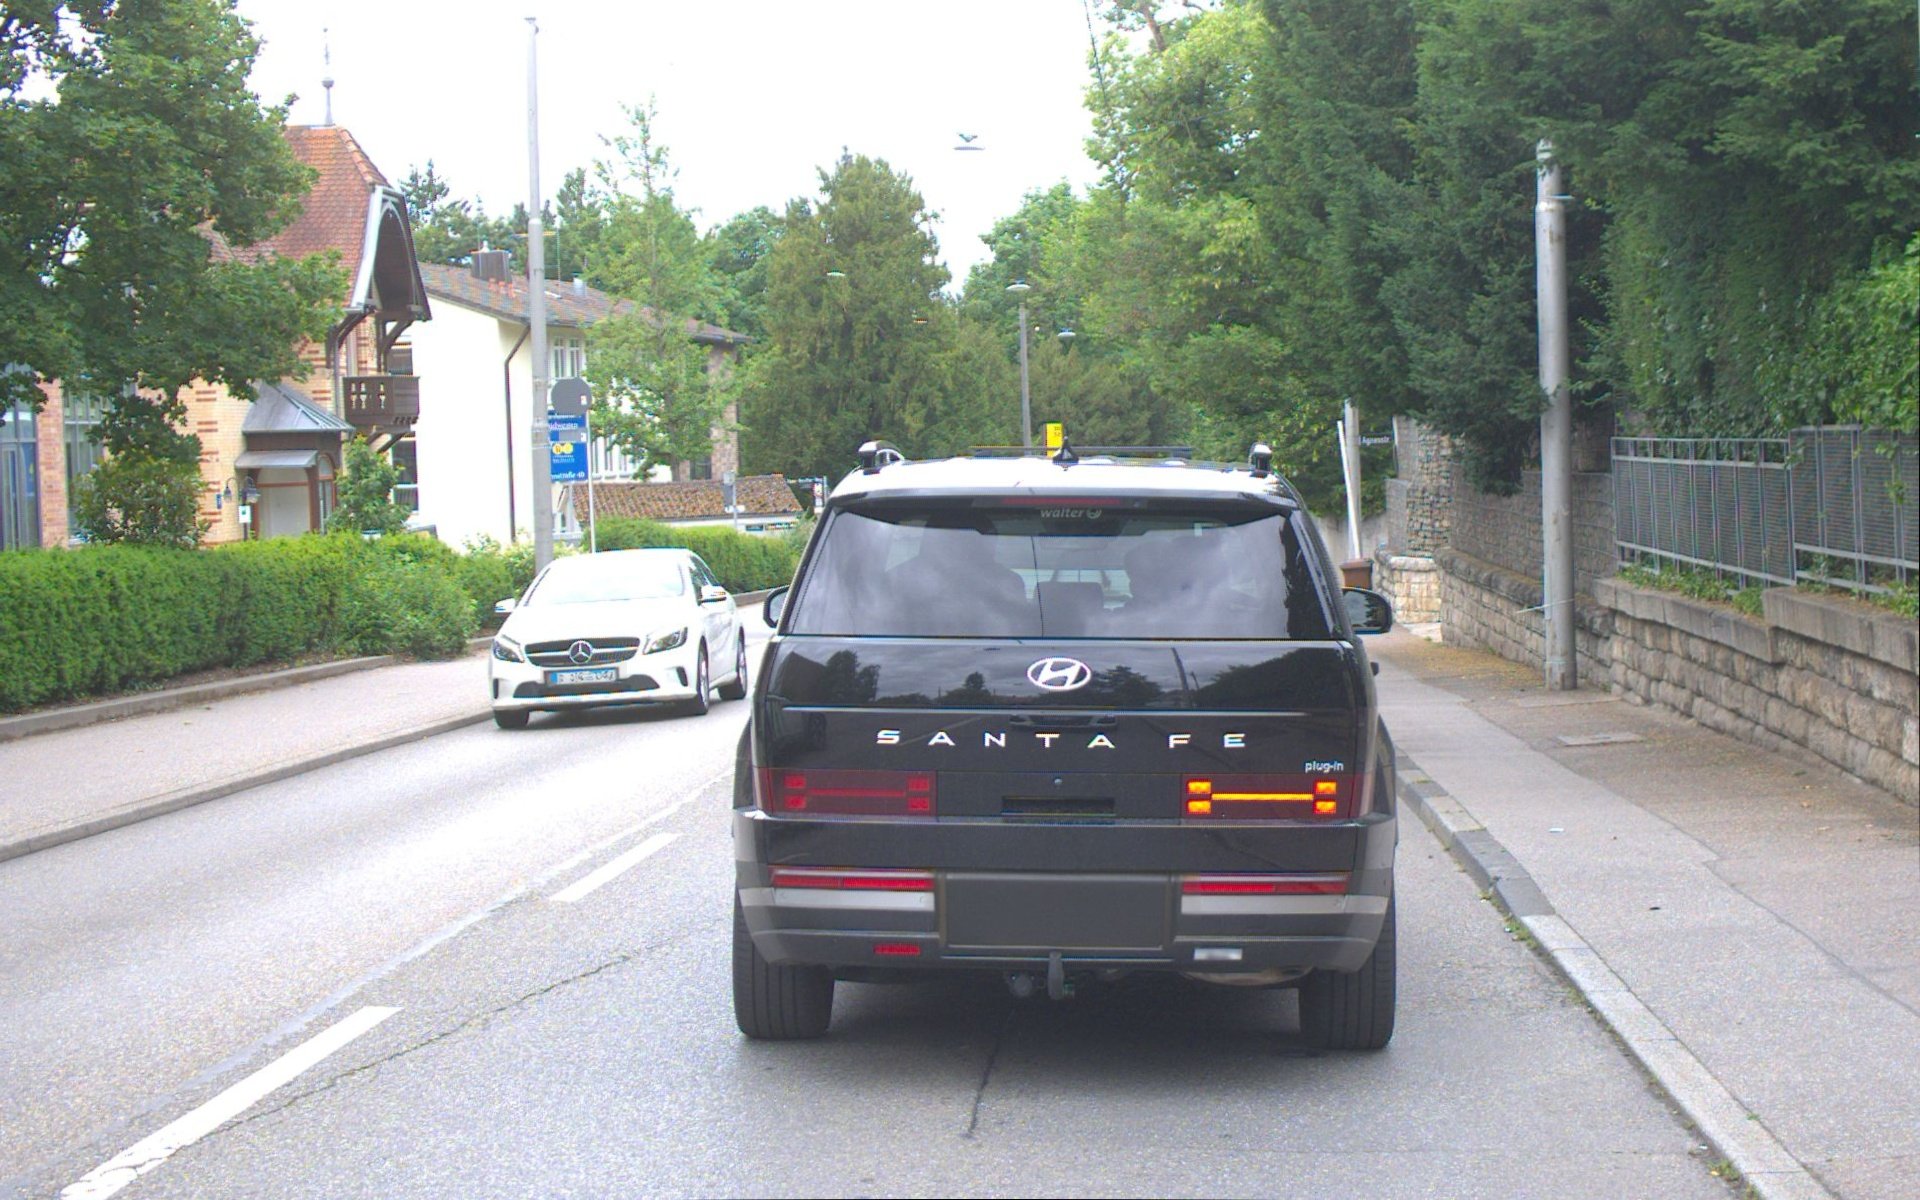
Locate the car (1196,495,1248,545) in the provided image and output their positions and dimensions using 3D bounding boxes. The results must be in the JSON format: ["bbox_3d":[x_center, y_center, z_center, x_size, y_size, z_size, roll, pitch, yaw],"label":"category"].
[{"bbox_3d":[9.220,-2.796,120.786,1.645,1.555,3.649,-1,-1,7],"label":"car"}]

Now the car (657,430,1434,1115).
[{"bbox_3d":[0.342,0.379,10.909,1.957,1.707,4.223,1,2,4],"label":"car"}]

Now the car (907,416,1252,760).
[{"bbox_3d":[0.754,-0.152,22.428,1.957,1.949,4.223,2,2,1],"label":"car"}]

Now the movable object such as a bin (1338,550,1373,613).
[{"bbox_3d":[5.873,-0.274,51.027,0.445,0.907,0.394,-2,1,13],"label":"movable object such as a bin"}]

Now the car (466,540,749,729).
[{"bbox_3d":[-2.978,0.247,29.837,1.766,1.417,4.065,-3,1,3],"label":"car"}]
